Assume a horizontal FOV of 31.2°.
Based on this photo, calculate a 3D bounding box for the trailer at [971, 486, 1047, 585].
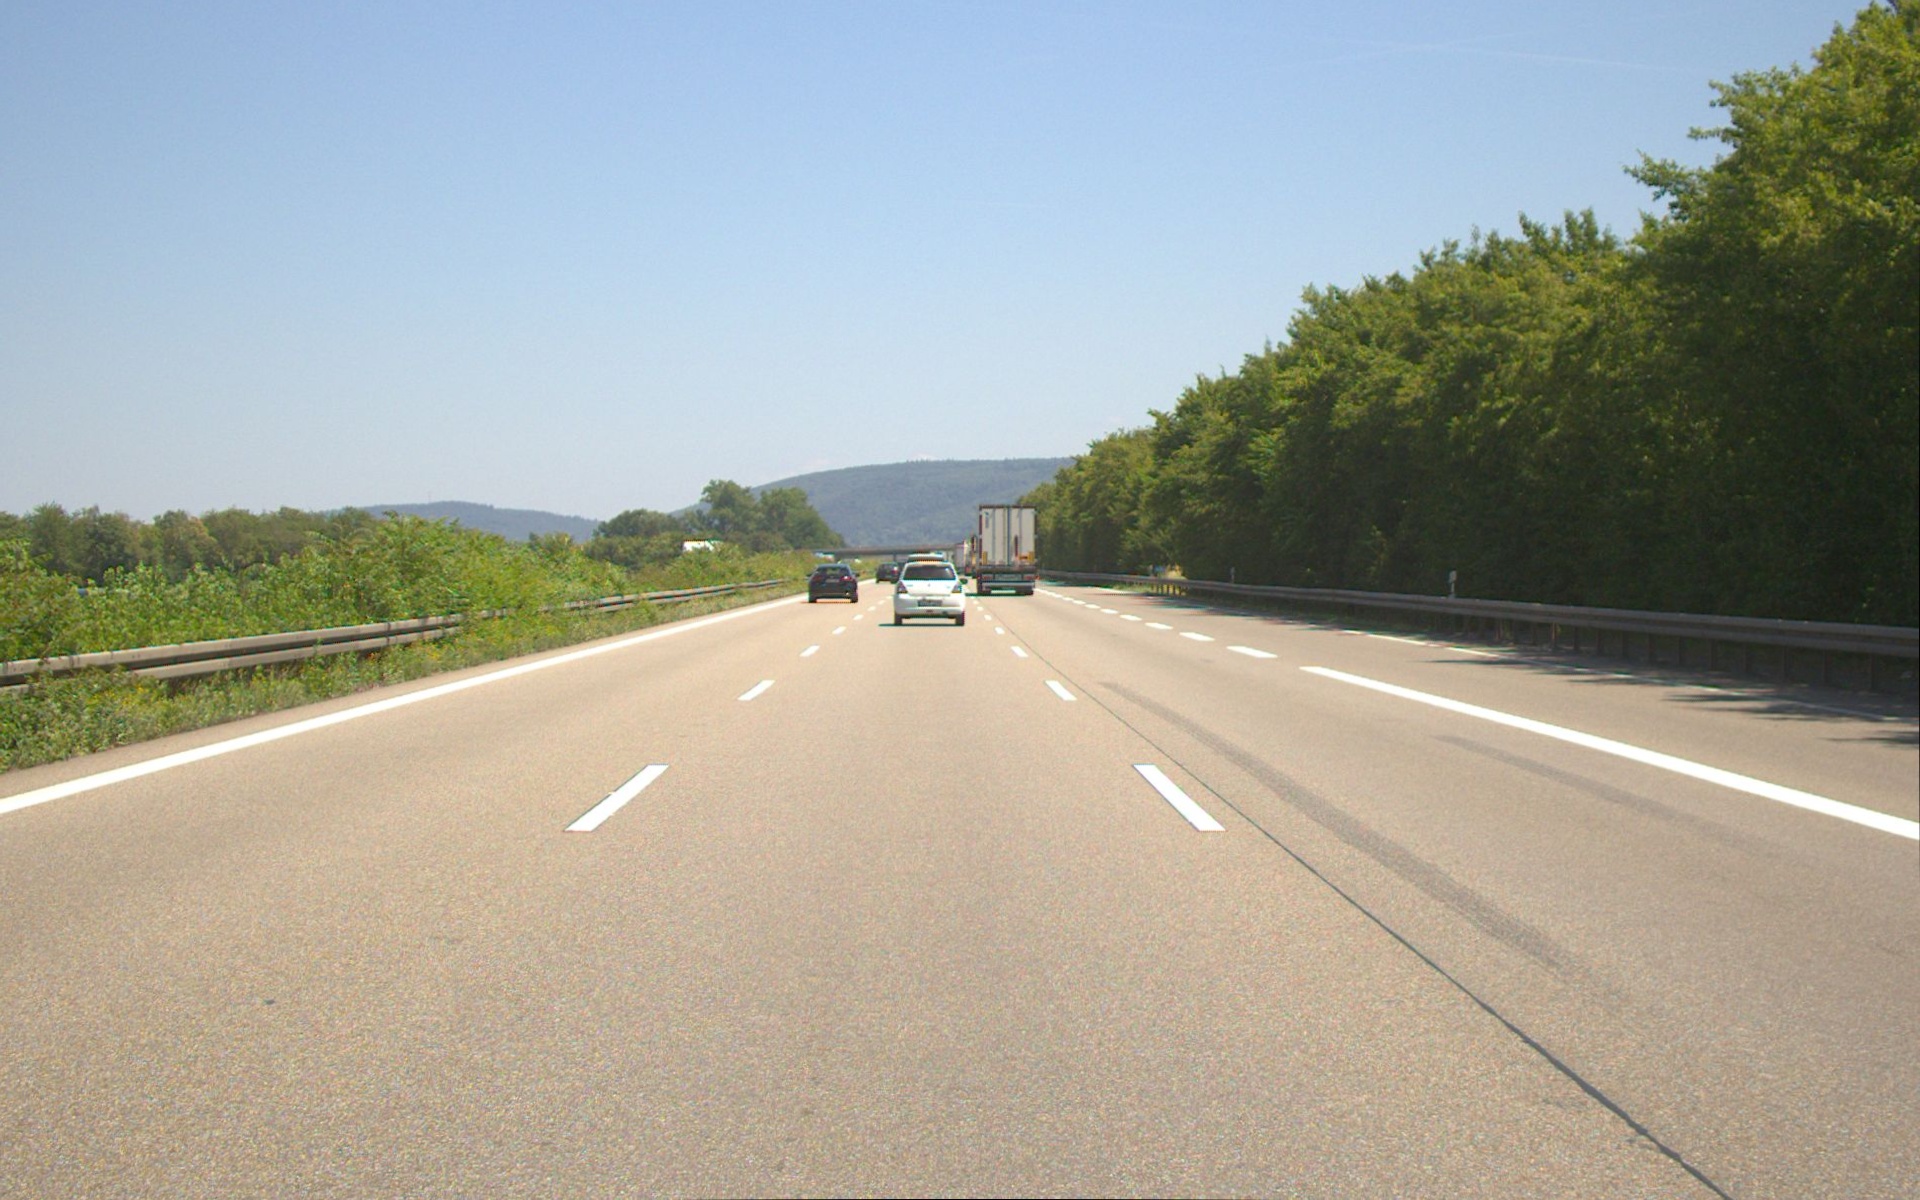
[{"bbox_3d":[2.352,-2.936,159.521,3.218,4.330,13.628,1,1,2],"label":"trailer"}]

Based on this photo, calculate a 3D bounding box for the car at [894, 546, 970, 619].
[{"bbox_3d":[-0.701,-0.439,82.236,1.732,1.678,4.000,-1,1,-1],"label":"car"}]

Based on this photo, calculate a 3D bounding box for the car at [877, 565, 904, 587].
[{"bbox_3d":[-4.864,-1.662,240.765,1.795,1.545,4.000,0,0,0],"label":"car"}]

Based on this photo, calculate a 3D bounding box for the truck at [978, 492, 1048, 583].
[{"bbox_3d":[2.618,-3.015,167.017,3.218,4.330,6.590,1,1,2],"label":"truck"}]

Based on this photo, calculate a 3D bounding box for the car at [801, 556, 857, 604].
[{"bbox_3d":[-4.831,-0.752,127.399,1.993,1.706,4.000,1,1,-1],"label":"car"}]
